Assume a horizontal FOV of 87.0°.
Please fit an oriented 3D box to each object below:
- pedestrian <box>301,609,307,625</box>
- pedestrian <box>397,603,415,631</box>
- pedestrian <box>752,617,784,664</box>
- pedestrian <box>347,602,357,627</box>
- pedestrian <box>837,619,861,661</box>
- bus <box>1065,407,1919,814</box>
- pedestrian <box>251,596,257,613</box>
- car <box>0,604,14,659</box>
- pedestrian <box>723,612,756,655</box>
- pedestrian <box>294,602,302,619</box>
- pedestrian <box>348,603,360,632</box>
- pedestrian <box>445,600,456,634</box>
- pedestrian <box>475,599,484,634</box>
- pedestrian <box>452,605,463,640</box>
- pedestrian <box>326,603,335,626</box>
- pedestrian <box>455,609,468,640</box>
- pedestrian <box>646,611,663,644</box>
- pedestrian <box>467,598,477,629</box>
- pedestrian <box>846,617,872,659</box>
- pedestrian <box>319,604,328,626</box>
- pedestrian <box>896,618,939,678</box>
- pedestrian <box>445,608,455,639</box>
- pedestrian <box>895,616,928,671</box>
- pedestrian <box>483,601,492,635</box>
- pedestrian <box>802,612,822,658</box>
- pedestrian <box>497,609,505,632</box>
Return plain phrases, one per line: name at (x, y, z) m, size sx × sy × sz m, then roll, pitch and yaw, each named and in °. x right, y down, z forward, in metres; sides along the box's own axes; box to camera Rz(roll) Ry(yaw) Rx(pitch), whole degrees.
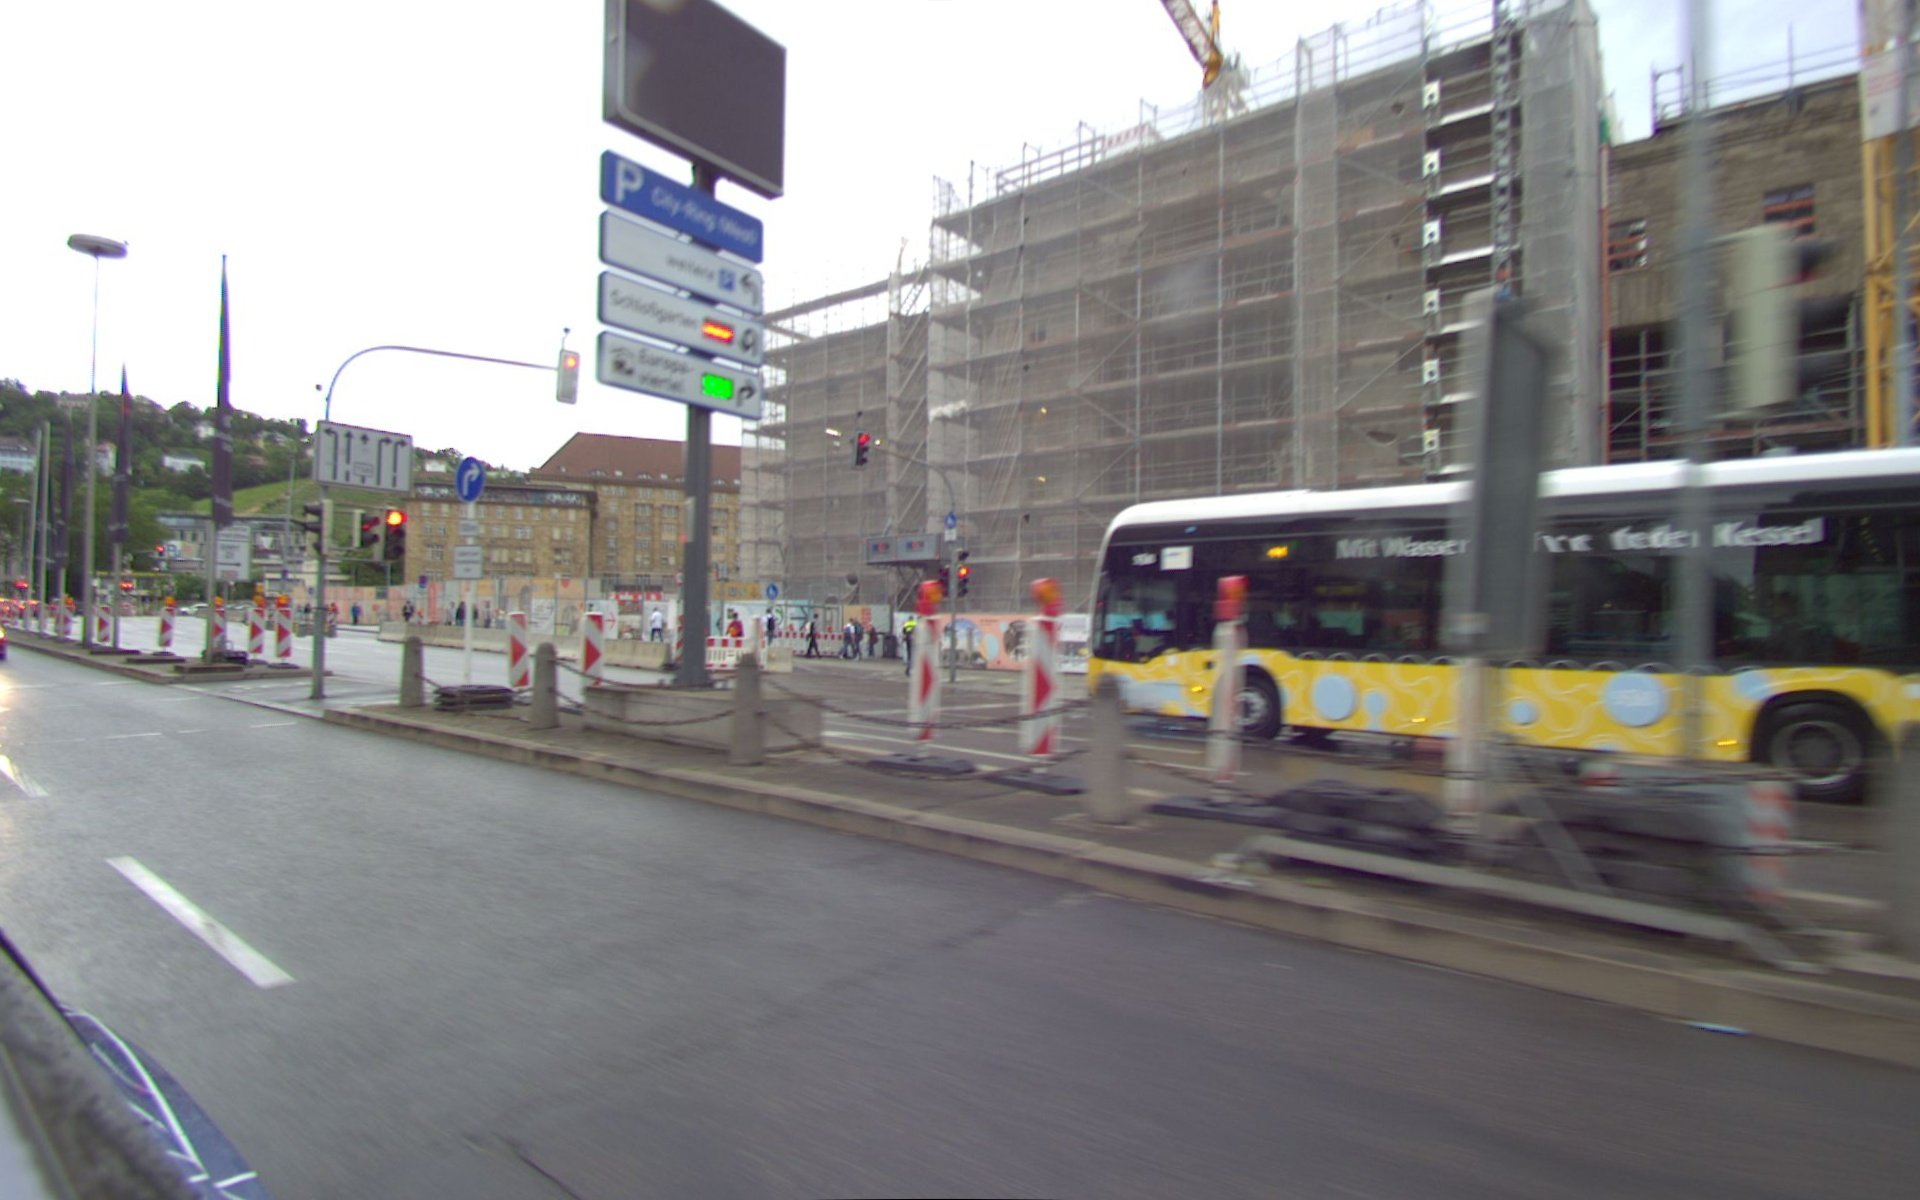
pedestrian at (-52.816, 1.360, 81.450) m, size 0.351 × 1.321 × 0.267 m, roll -1°, pitch -1°, yaw 41°
pedestrian at (-33.533, 1.013, 61.229) m, size 0.617 × 1.697 × 0.796 m, roll -1°, pitch -2°, yaw 44°
pedestrian at (-7.082, 1.486, 37.327) m, size 0.872 × 1.677 × 0.746 m, roll 0°, pitch -2°, yaw 42°
pedestrian at (-47.870, 1.136, 79.740) m, size 0.490 × 2.029 × 0.535 m, roll 0°, pitch 0°, yaw 41°
pedestrian at (-4.535, 1.621, 41.439) m, size 0.695 × 1.677 × 0.659 m, roll 1°, pitch -1°, yaw 30°
bus at (9.567, 0.142, 9.901) m, size 19.078 × 3.605 × 2.878 m, roll 0°, pitch -3°, yaw 43°
pedestrian at (-68.479, 0.465, 98.174) m, size 0.323 × 1.628 × 0.330 m, roll -1°, pitch -1°, yaw 41°
car at (-26.460, 0.797, 26.719) m, size 3.998 × 1.388 × 1.724 m, roll 0°, pitch -1°, yaw 41°
pedestrian at (-8.189, 1.241, 37.628) m, size 0.709 × 1.578 × 0.941 m, roll 0°, pitch -2°, yaw 42°
pedestrian at (-55.188, 0.870, 84.318) m, size 0.413 × 1.425 × 0.433 m, roll -1°, pitch -1°, yaw 41°
pedestrian at (-43.845, 1.265, 73.218) m, size 0.685 × 2.049 × 0.585 m, roll -1°, pitch -1°, yaw 41°
pedestrian at (-27.133, 0.897, 53.892) m, size 0.391 × 1.783 × 0.363 m, roll -1°, pitch -2°, yaw 44°
pedestrian at (-25.083, 0.856, 52.837) m, size 0.346 × 1.783 × 0.307 m, roll -1°, pitch -2°, yaw 44°
pedestrian at (-26.275, 1.170, 52.930) m, size 0.365 × 1.783 × 0.363 m, roll -1°, pitch -2°, yaw 42°
pedestrian at (-45.079, 1.024, 72.428) m, size 0.413 × 1.628 × 0.433 m, roll -1°, pitch -1°, yaw 41°
pedestrian at (-28.710, 1.408, 58.273) m, size 0.463 × 1.768 × 0.511 m, roll 0°, pitch 0°, yaw 41°
pedestrian at (-13.369, 1.194, 44.286) m, size 0.557 × 1.454 × 0.529 m, roll 2°, pitch -2°, yaw -42°
pedestrian at (-25.719, 0.695, 53.357) m, size 0.395 × 1.633 × 0.365 m, roll 1°, pitch 0°, yaw -45°
pedestrian at (-4.337, 1.632, 43.602) m, size 0.944 × 1.749 × 0.707 m, roll 0°, pitch -1°, yaw 11°
pedestrian at (-48.114, 1.137, 76.514) m, size 0.413 × 1.628 × 0.433 m, roll -1°, pitch -1°, yaw 41°
pedestrian at (-1.220, 1.358, 29.098) m, size 0.963 × 1.694 × 0.746 m, roll 0°, pitch -2°, yaw 41°
pedestrian at (-26.584, 1.234, 52.729) m, size 0.321 × 1.628 × 0.345 m, roll -1°, pitch -2°, yaw 41°
pedestrian at (-1.653, 1.462, 34.479) m, size 0.755 × 1.826 × 0.862 m, roll 0°, pitch -2°, yaw 36°
pedestrian at (-24.810, 0.961, 53.119) m, size 0.268 × 1.783 × 0.310 m, roll 0°, pitch 0°, yaw 44°
pedestrian at (-5.834, 1.386, 39.894) m, size 0.639 × 1.782 × 0.528 m, roll 1°, pitch -1°, yaw -18°
pedestrian at (-24.139, 1.056, 53.251) m, size 0.251 × 1.202 × 0.390 m, roll 1°, pitch 0°, yaw -44°
